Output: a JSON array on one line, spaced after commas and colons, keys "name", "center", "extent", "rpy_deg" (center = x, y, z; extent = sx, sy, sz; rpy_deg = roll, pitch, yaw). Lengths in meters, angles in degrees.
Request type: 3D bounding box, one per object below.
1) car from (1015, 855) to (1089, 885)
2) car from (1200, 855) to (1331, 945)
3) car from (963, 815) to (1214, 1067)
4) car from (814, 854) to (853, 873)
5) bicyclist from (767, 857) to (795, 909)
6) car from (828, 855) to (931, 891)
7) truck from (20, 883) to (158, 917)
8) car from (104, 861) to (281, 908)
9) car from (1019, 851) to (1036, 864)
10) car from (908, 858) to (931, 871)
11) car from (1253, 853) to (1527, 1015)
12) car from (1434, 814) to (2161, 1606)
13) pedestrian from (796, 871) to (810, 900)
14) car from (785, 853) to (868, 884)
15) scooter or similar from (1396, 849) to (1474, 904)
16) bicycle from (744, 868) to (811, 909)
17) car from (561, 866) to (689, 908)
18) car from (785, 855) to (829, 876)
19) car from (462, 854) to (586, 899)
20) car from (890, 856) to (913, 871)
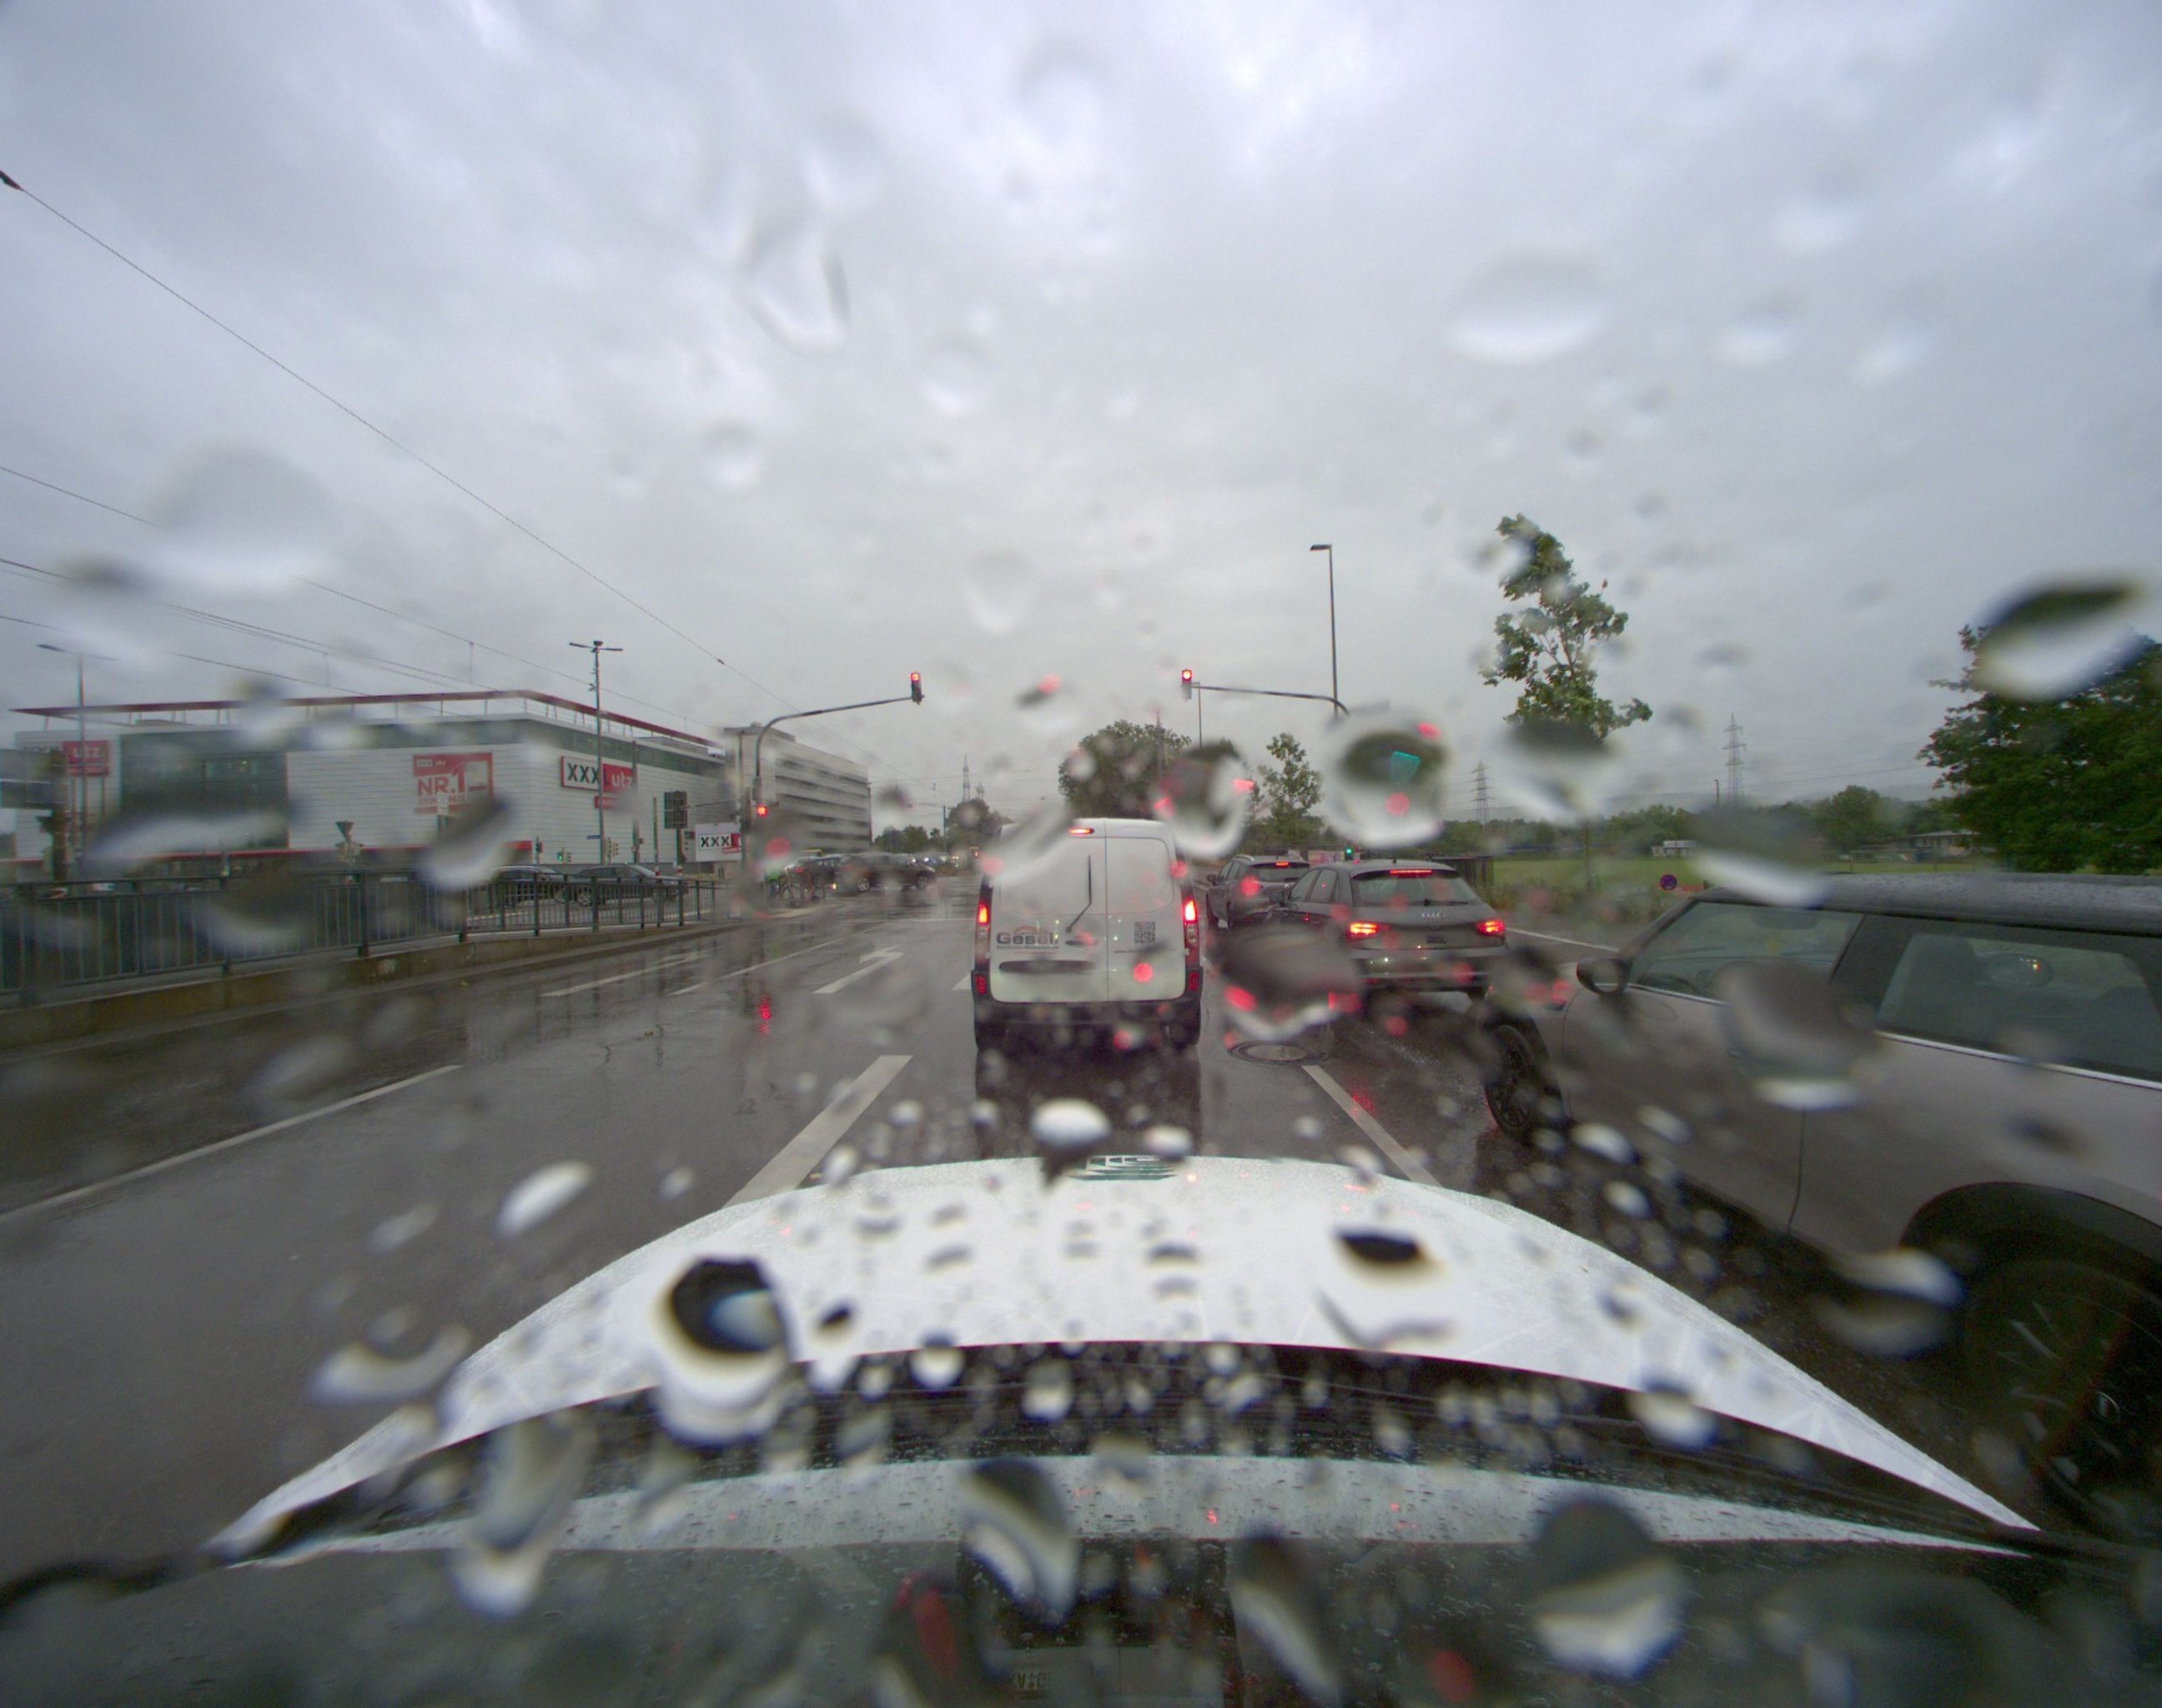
[{"name": "car", "center": [-1.455, 0.834, 42.626], "extent": [1.692, 1.502, 4.537], "rpy_deg": [0, -1, 30]}, {"name": "car", "center": [3.378, 0.778, 15.587], "extent": [1.678, 1.508, 3.921], "rpy_deg": [0, 0, 1]}, {"name": "car", "center": [0.007, 0.582, 7.808], "extent": [1.749, 1.750, 4.166], "rpy_deg": [-1, 1, -2]}, {"name": "car", "center": [-19.330, 0.764, 63.714], "extent": [1.704, 1.426, 3.810], "rpy_deg": [1, -1, 2]}, {"name": "bicyclist", "center": [-8.759, 0.823, 23.781], "extent": [0.608, 1.491, 0.593], "rpy_deg": [0, -1, -39]}, {"name": "car", "center": [-8.522, 0.822, 34.540], "extent": [3.939, 1.398, 1.520], "rpy_deg": [2, 0, -34]}, {"name": "truck", "center": [-60.987, 2.817, 50.150], "extent": [5.859, 1.942, 2.012], "rpy_deg": [1, -1, 0]}, {"name": "car", "center": [-30.216, 1.035, 27.824], "extent": [3.735, 1.507, 1.643], "rpy_deg": [1, -1, -13]}, {"name": "car", "center": [-6.980, 0.478, 107.013], "extent": [1.942, 1.662, 4.461], "rpy_deg": [0, -1, -1]}, {"name": "car", "center": [-18.256, 1.210, 91.969], "extent": [1.704, 1.426, 3.810], "rpy_deg": [1, -1, 2]}, {"name": "car", "center": [3.100, 0.739, 8.972], "extent": [1.592, 1.366, 3.629], "rpy_deg": [-2, -1, 0]}, {"name": "car", "center": [2.974, 0.701, 3.070], "extent": [1.696, 1.508, 3.881], "rpy_deg": [1, 0, 2]}, {"name": "pedestrian", "center": [-8.823, 0.985, 25.833], "extent": [0.314, 0.897, 0.380], "rpy_deg": [1, 0, -1]}, {"name": "car", "center": [-12.258, 0.711, 39.357], "extent": [1.630, 1.398, 3.475], "rpy_deg": [2, 0, 40]}, {"name": "scooter or similar", "center": [8.526, 0.493, 19.760], "extent": [0.687, 1.211, 3.022], "rpy_deg": [-2, 0, 3]}, {"name": "bicycle", "center": [-8.813, 0.988, 23.678], "extent": [1.768, 1.137, 0.514], "rpy_deg": [0, -1, -41]}, {"name": "car", "center": [-16.836, 1.216, 30.210], "extent": [3.785, 1.398, 1.530], "rpy_deg": [2, 0, -11]}, {"name": "car", "center": [-19.427, 0.803, 57.806], "extent": [1.704, 1.426, 3.810], "rpy_deg": [1, -1, 2]}, {"name": "car", "center": [-23.020, 0.925, 33.778], "extent": [3.786, 1.674, 1.700], "rpy_deg": [2, 0, -11]}, {"name": "car", "center": [-18.604, 1.000, 84.514], "extent": [1.554, 1.426, 3.570], "rpy_deg": [1, -1, 2]}]
